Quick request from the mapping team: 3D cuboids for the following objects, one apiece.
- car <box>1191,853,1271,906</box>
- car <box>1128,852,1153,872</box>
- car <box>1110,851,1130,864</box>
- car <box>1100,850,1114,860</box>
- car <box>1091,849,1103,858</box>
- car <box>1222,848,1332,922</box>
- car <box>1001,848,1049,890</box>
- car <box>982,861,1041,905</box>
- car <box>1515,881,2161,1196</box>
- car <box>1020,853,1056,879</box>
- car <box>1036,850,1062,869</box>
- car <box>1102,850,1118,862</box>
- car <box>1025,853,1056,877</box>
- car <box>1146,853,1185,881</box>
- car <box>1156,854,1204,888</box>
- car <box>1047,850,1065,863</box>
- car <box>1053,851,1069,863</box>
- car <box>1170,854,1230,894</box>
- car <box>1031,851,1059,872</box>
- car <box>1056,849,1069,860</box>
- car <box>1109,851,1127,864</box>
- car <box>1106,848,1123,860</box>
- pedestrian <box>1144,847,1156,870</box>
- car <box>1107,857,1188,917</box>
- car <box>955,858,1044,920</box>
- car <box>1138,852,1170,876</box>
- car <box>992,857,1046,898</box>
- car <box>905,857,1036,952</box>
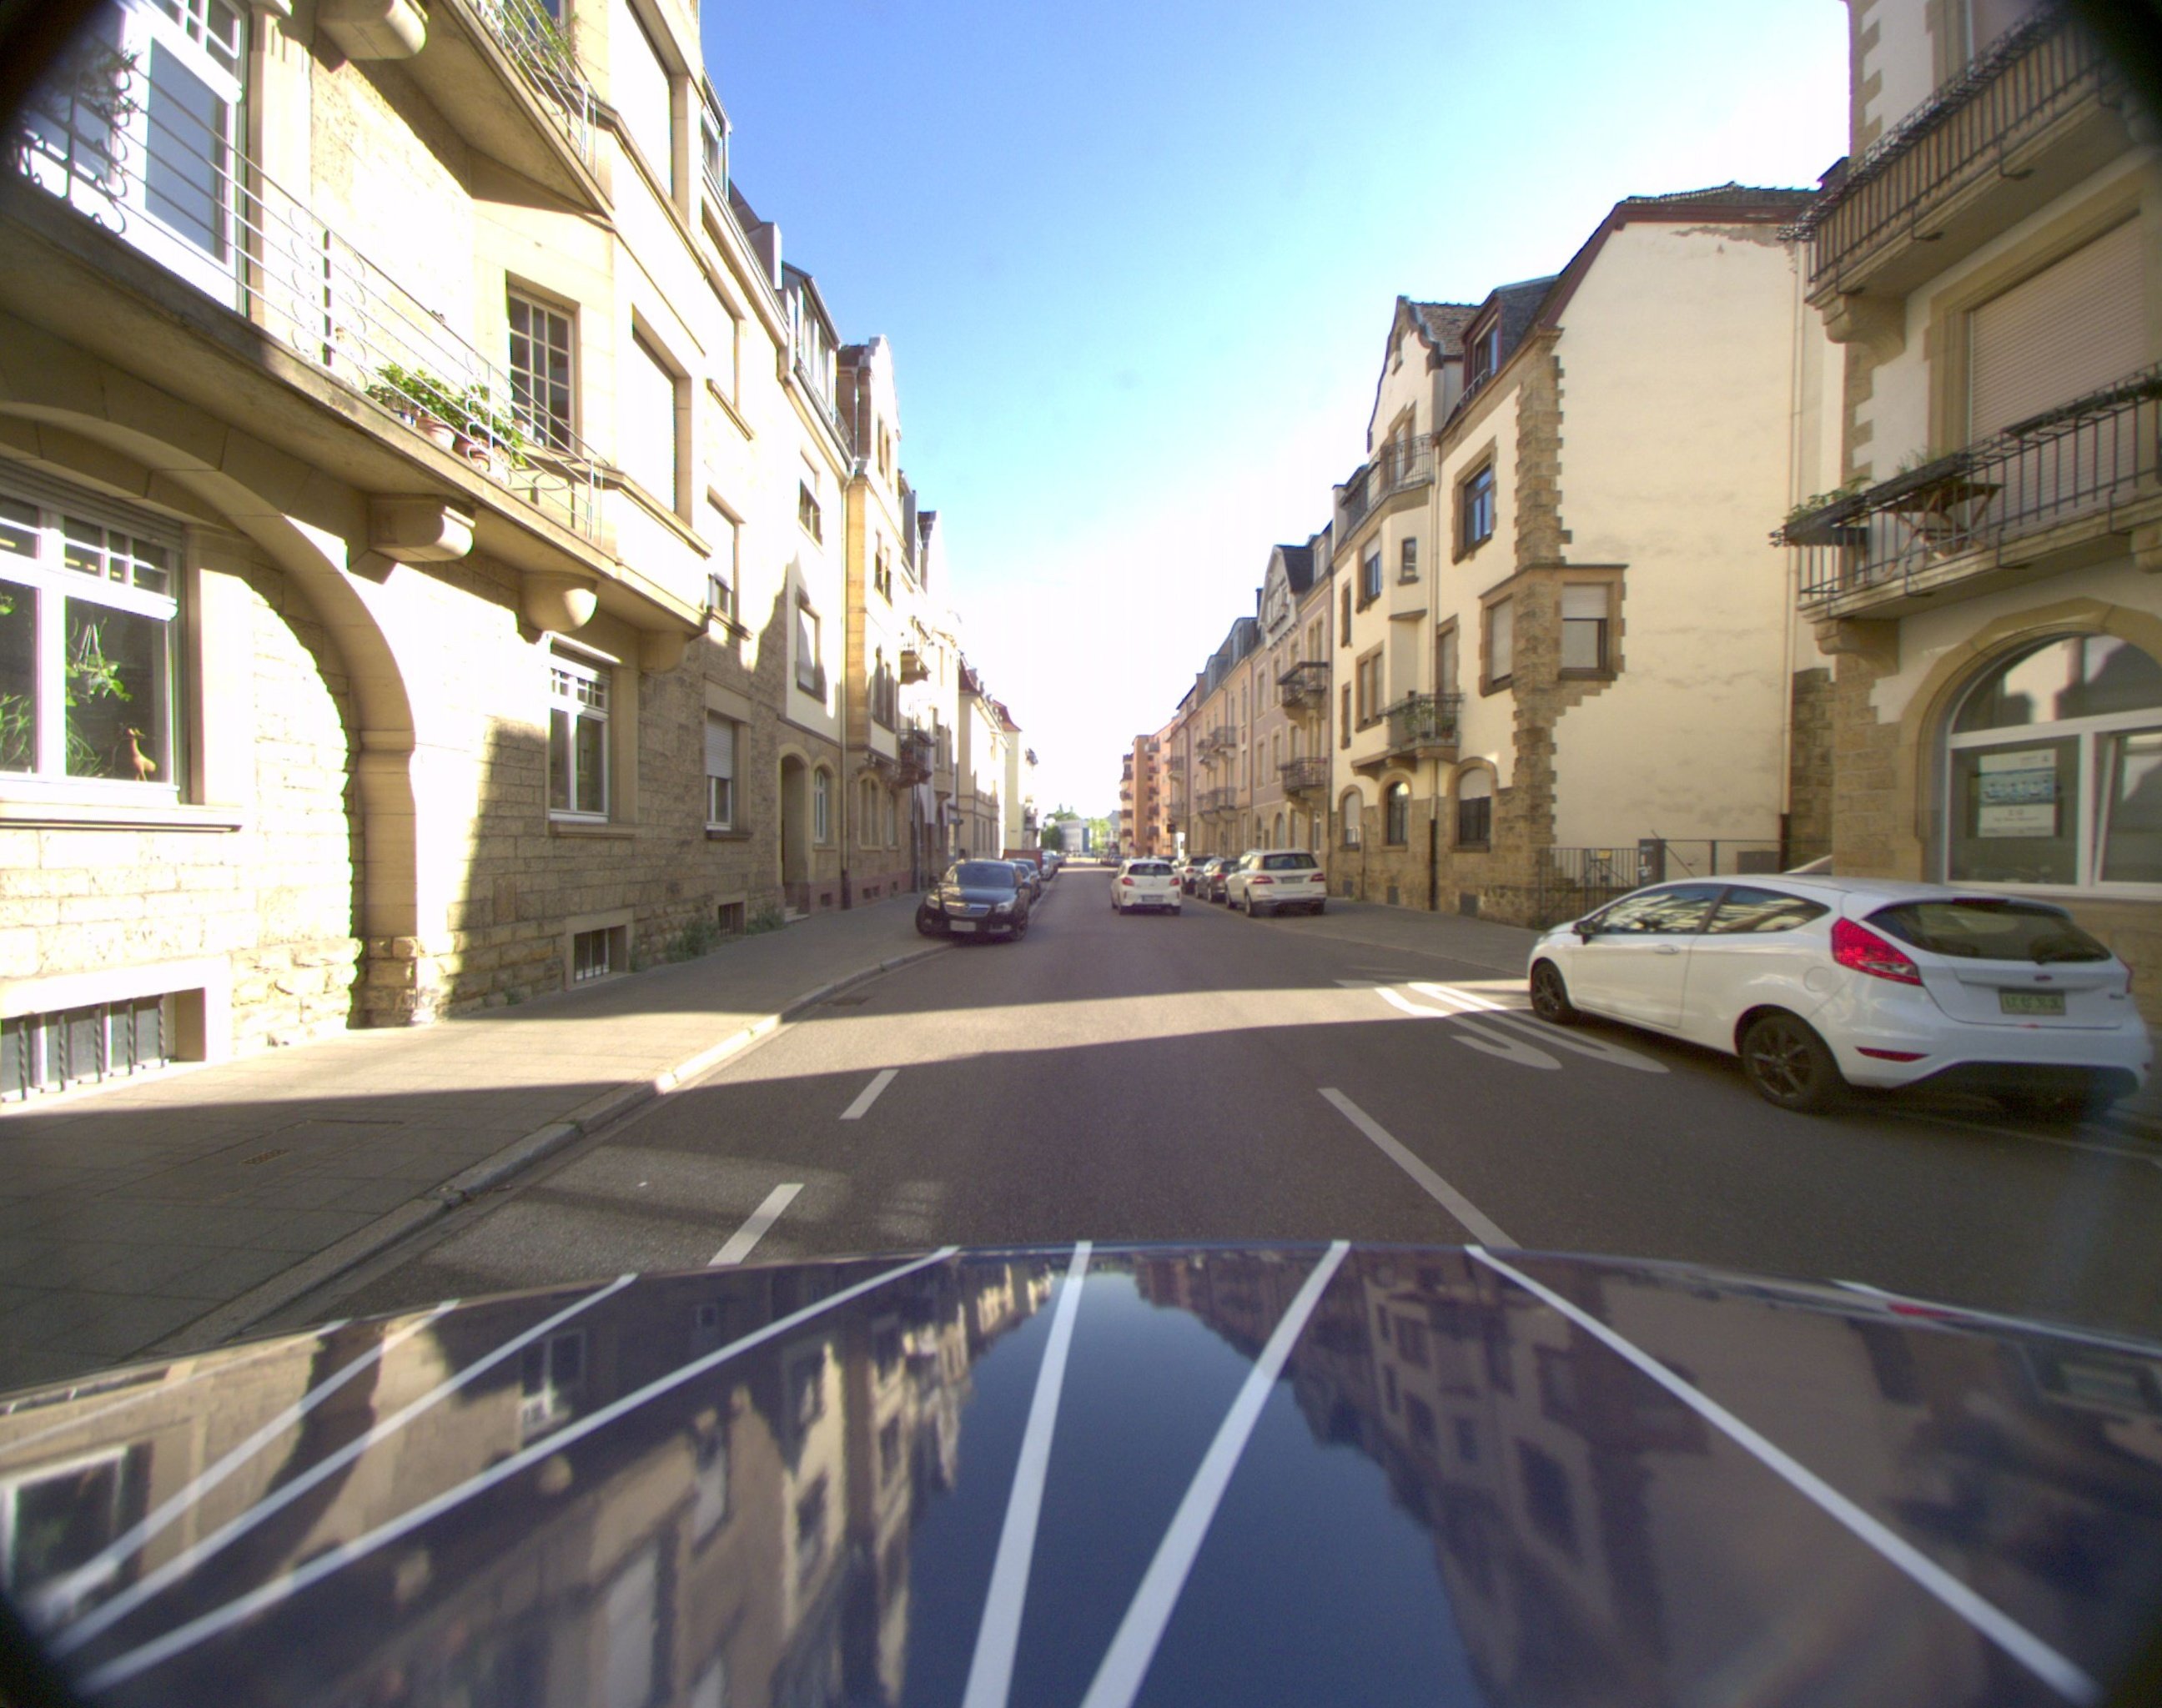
[{"bbox_3d":[5.117,0.817,26.549,1.890,1.500,4.320,-4,1,1],"label":"car"},{"bbox_3d":[4.884,0.636,62.977,1.793,1.500,4.320,-2,1,1],"label":"car"},{"bbox_3d":[4.663,0.402,91.395,2.005,1.500,4.320,1,1,-1],"label":"car"},{"bbox_3d":[3.947,0.179,116.763,2.005,1.500,4.320,1,1,-1],"label":"car"},{"bbox_3d":[2.888,-0.073,140.533,2.005,1.500,4.320,1,1,-1],"label":"car"},{"bbox_3d":[5.189,0.748,20.698,1.890,1.717,4.211,-2,1,1],"label":"car"},{"bbox_3d":[-2.566,0.647,35.813,2.005,1.828,4.320,1,1,-1],"label":"car"},{"bbox_3d":[-2.240,0.924,25.381,1.661,1.272,3.729,1,1,-1],"label":"car"},{"bbox_3d":[5.107,1.012,5.703,1.656,1.449,3.643,2,0,2],"label":"car"},{"bbox_3d":[-2.660,0.714,47.871,2.005,1.500,4.320,1,1,-1],"label":"car"},{"bbox_3d":[-2.681,0.448,64.502,2.005,1.500,4.320,1,1,-1],"label":"car"},{"bbox_3d":[4.101,0.280,107.255,2.005,1.500,4.320,1,1,-1],"label":"car"},{"bbox_3d":[-2.756,0.733,52.644,2.005,1.500,4.320,1,1,-1],"label":"car"},{"bbox_3d":[5.053,0.727,45.884,1.890,1.500,4.320,-2,1,1],"label":"car"},{"bbox_3d":[4.849,0.813,37.810,1.857,1.491,4.318,-2,1,1],"label":"car"},{"bbox_3d":[-2.854,0.261,88.982,2.005,1.500,4.320,1,1,-1],"label":"car"},{"bbox_3d":[-2.594,0.425,99.956,2.005,1.500,4.320,1,1,-1],"label":"car"},{"bbox_3d":[4.978,0.791,32.370,1.890,1.500,4.320,-2,1,1],"label":"car"},{"bbox_3d":[-2.753,0.532,58.669,2.005,1.500,4.320,1,1,-1],"label":"car"},{"bbox_3d":[-2.953,0.061,123.339,2.005,1.722,4.320,1,1,-1],"label":"car"},{"bbox_3d":[4.612,0.385,96.209,2.005,1.500,4.320,1,1,-1],"label":"car"},{"bbox_3d":[4.507,-0.005,101.984,2.005,1.500,4.320,1,1,-1],"label":"car"},{"bbox_3d":[6.163,0.391,68.330,0.952,2.002,1.066,-2,1,2],"label":"pedestrian"},{"bbox_3d":[1.739,0.853,21.042,1.703,1.474,3.533,1,0,-4],"label":"car"},{"bbox_3d":[-2.103,0.872,20.803,2.005,1.499,4.321,1,0,-1],"label":"car"},{"bbox_3d":[4.984,0.664,52.354,1.809,1.500,4.003,-2,1,1],"label":"car"},{"bbox_3d":[-2.391,0.888,30.124,1.824,1.415,4.320,1,1,-1],"label":"car"},{"bbox_3d":[-2.043,0.880,15.241,2.024,1.500,4.111,2,1,-1],"label":"car"}]
